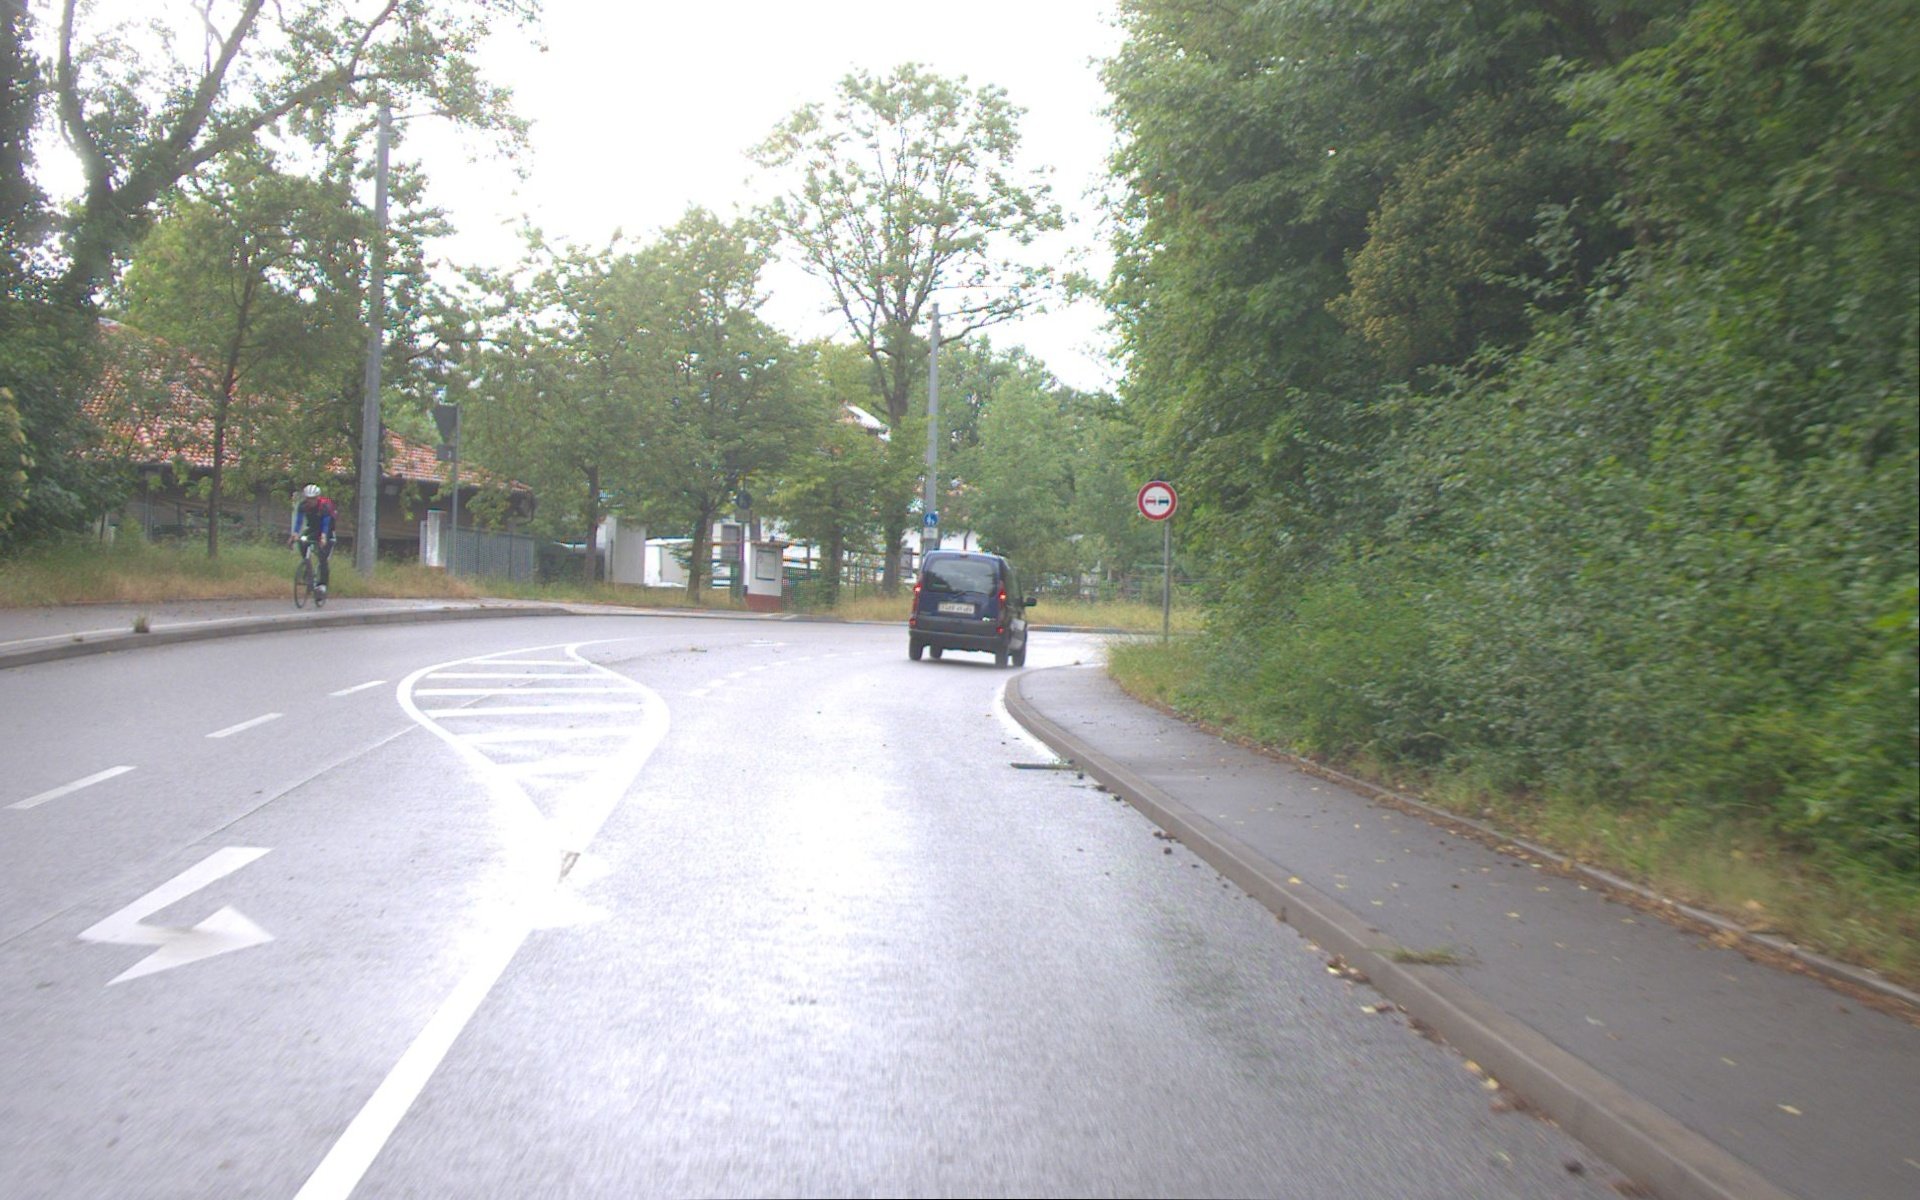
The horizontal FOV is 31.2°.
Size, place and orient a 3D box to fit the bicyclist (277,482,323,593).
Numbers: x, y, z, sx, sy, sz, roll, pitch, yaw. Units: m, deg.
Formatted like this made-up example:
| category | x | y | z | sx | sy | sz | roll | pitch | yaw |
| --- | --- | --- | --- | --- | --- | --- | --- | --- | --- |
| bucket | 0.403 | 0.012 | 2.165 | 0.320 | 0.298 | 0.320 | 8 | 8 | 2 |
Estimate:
| category | x | y | z | sx | sy | sz | roll | pitch | yaw |
| --- | --- | --- | --- | --- | --- | --- | --- | --- | --- |
| bicyclist | -9.557 | -0.903 | 49.826 | 0.336 | 1.569 | 1.298 | 3 | 1 | 1 |

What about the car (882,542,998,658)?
| category | x | y | z | sx | sy | sz | roll | pitch | yaw |
| --- | --- | --- | --- | --- | --- | --- | --- | --- | --- |
| car | -0.367 | 0.036 | 56.844 | 1.827 | 1.788 | 4.000 | -1 | -2 | -1 |

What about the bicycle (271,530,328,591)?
| category | x | y | z | sx | sy | sz | roll | pitch | yaw |
| --- | --- | --- | --- | --- | --- | --- | --- | --- | --- |
| bicycle | -9.566 | -0.578 | 49.833 | 0.355 | 0.846 | 2.093 | 2 | 1 | 1 |
